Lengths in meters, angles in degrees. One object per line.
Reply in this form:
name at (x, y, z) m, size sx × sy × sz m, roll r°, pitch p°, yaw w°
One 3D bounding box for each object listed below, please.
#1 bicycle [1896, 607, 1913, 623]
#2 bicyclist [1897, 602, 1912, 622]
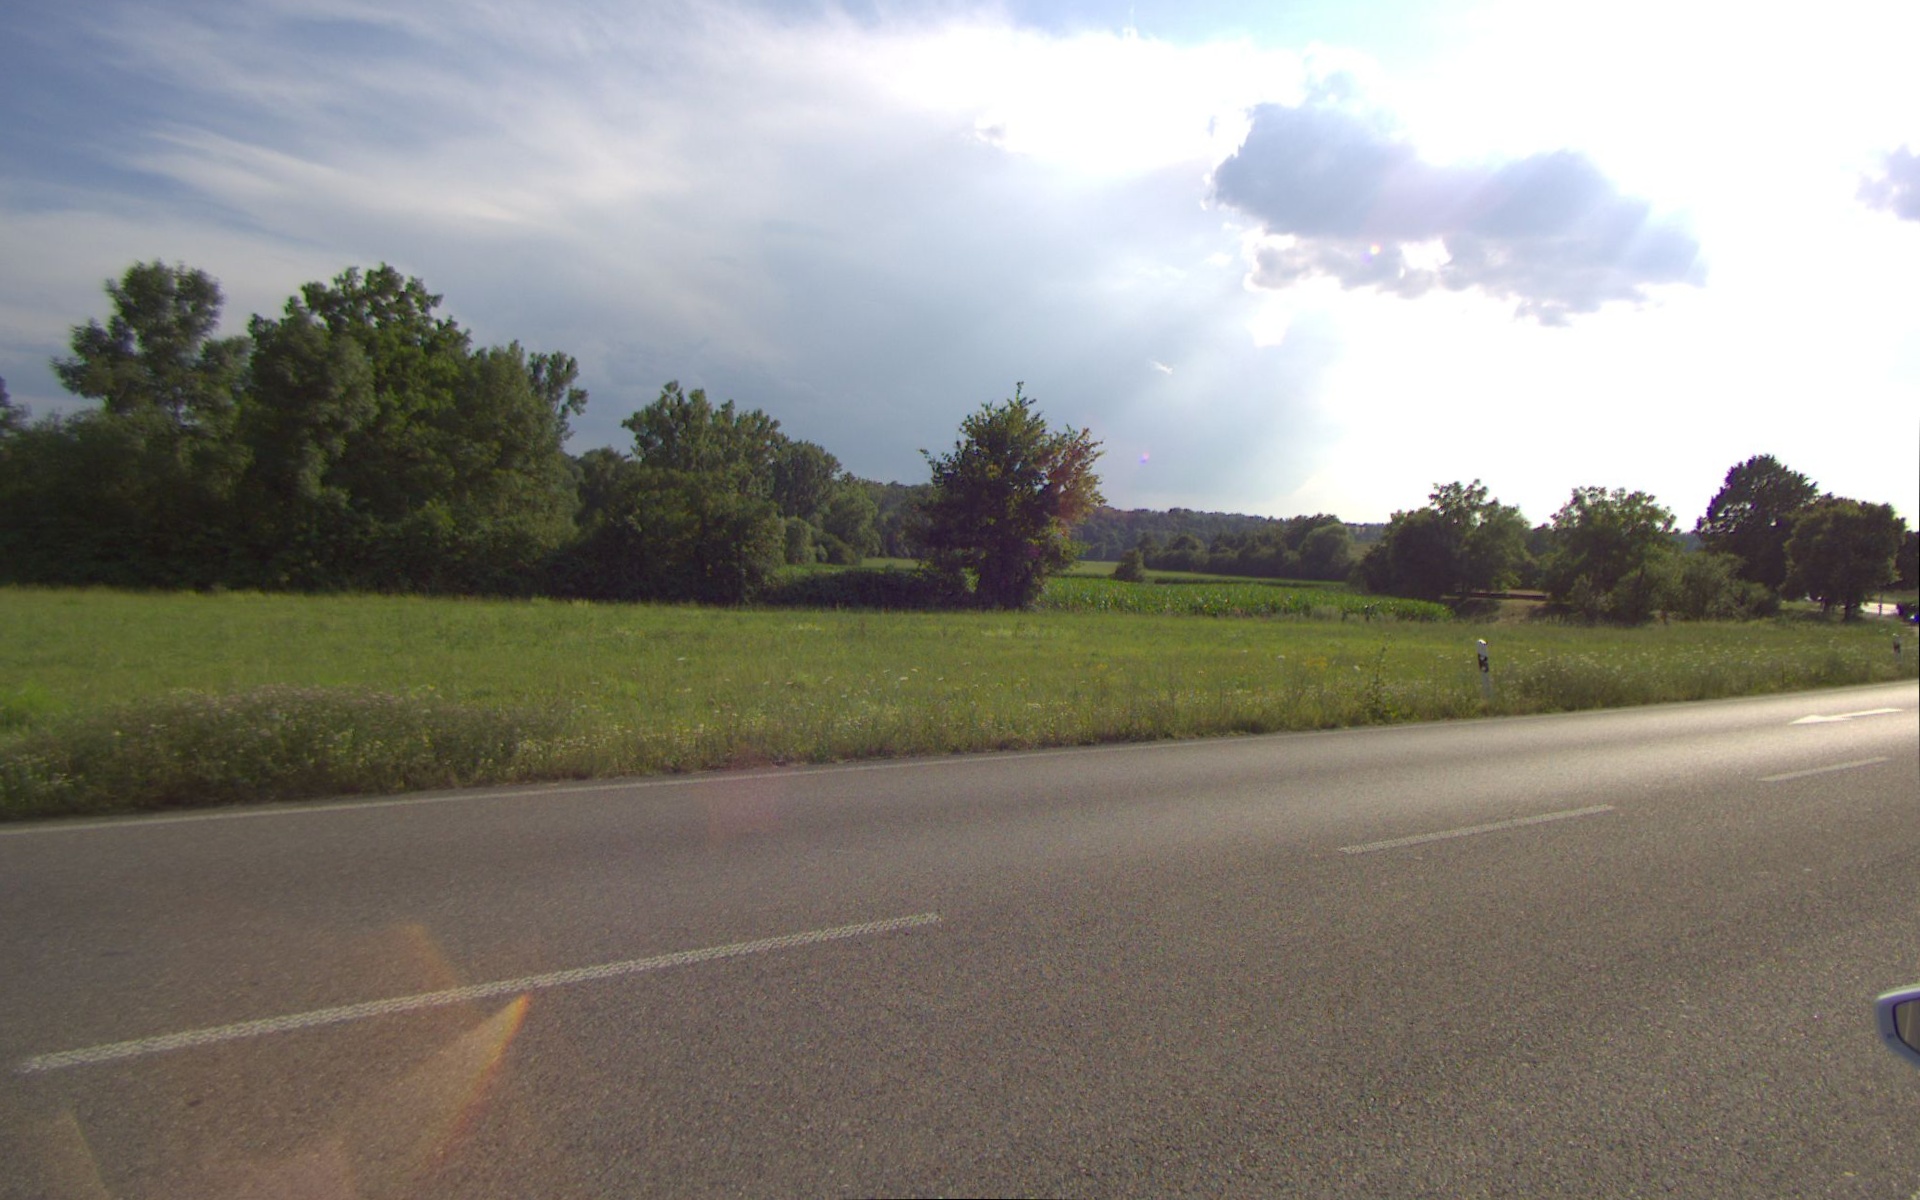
bicycle at (68.177, 1.107, 72.527) m, size 1.656 × 1.089 × 0.630 m, roll 1°, pitch 2°, yaw -39°
bicyclist at (68.168, 0.850, 72.504) m, size 0.685 × 1.439 × 0.630 m, roll 1°, pitch 2°, yaw -38°
